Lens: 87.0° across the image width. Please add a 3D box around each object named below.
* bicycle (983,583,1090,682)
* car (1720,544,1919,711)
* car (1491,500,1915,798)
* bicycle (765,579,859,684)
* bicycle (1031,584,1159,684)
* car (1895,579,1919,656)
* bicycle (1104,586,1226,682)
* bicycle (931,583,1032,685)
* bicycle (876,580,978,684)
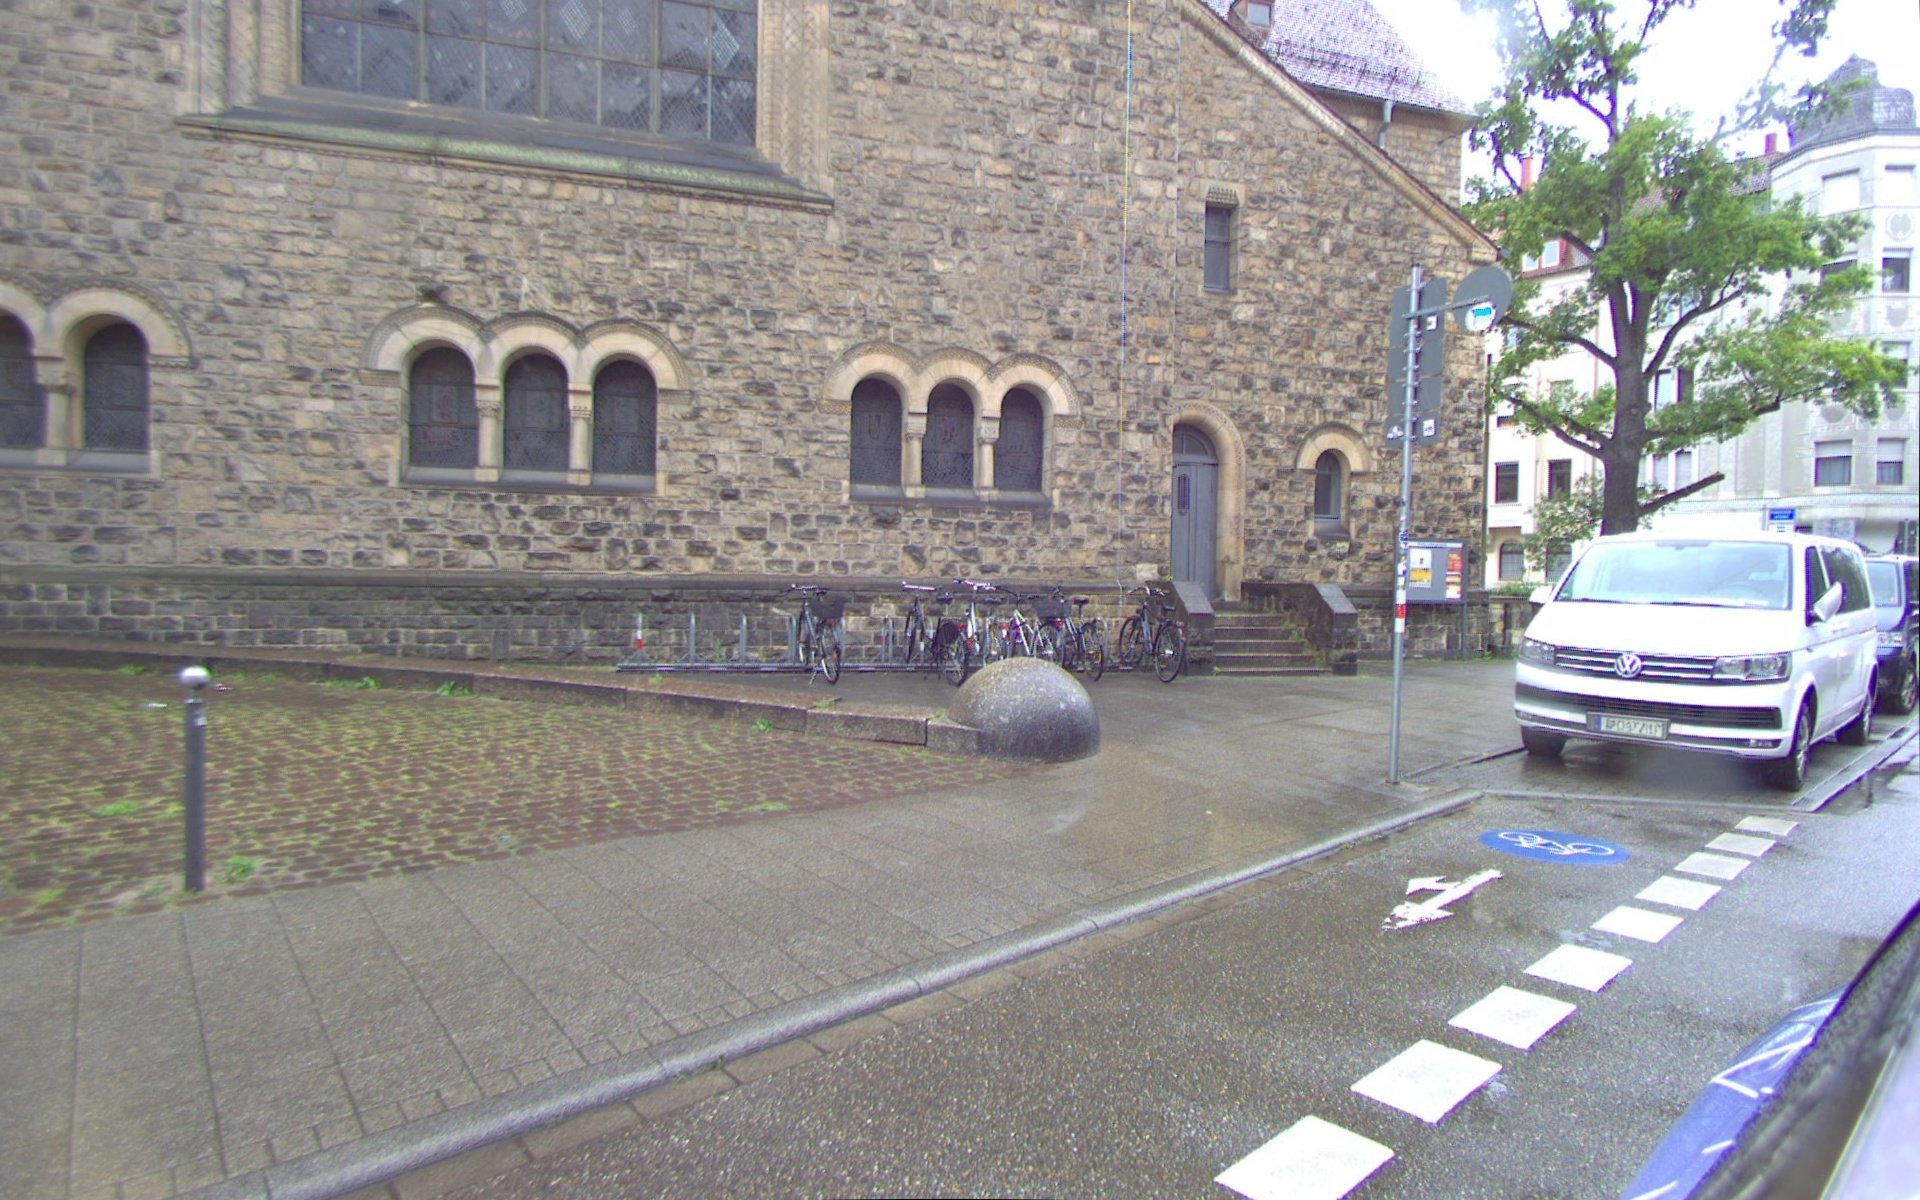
[{"bbox_3d":[0.898,0.358,12.447,0.569,1.073,1.933,1,2,-19],"label":"bicycle"},{"bbox_3d":[11.759,0.259,13.385,4.220,1.869,1.836,0,2,-41],"label":"car"},{"bbox_3d":[6.830,0.271,9.028,5.180,1.946,1.908,0,2,-41],"label":"car"},{"bbox_3d":[-1.748,0.316,11.688,0.564,1.062,2.014,1,2,-23],"label":"bicycle"},{"bbox_3d":[1.617,0.372,12.566,0.663,1.073,2.161,1,2,-19],"label":"bicycle"},{"bbox_3d":[21.476,0.366,21.669,3.850,1.568,1.674,0,2,-41],"label":"car"},{"bbox_3d":[2.550,0.386,12.841,0.593,1.079,1.987,1,2,-18],"label":"bicycle"},{"bbox_3d":[0.214,0.358,12.086,0.569,1.073,1.933,1,2,-19],"label":"bicycle"},{"bbox_3d":[-0.426,0.331,11.936,0.569,1.073,1.933,1,2,-21],"label":"bicycle"}]
